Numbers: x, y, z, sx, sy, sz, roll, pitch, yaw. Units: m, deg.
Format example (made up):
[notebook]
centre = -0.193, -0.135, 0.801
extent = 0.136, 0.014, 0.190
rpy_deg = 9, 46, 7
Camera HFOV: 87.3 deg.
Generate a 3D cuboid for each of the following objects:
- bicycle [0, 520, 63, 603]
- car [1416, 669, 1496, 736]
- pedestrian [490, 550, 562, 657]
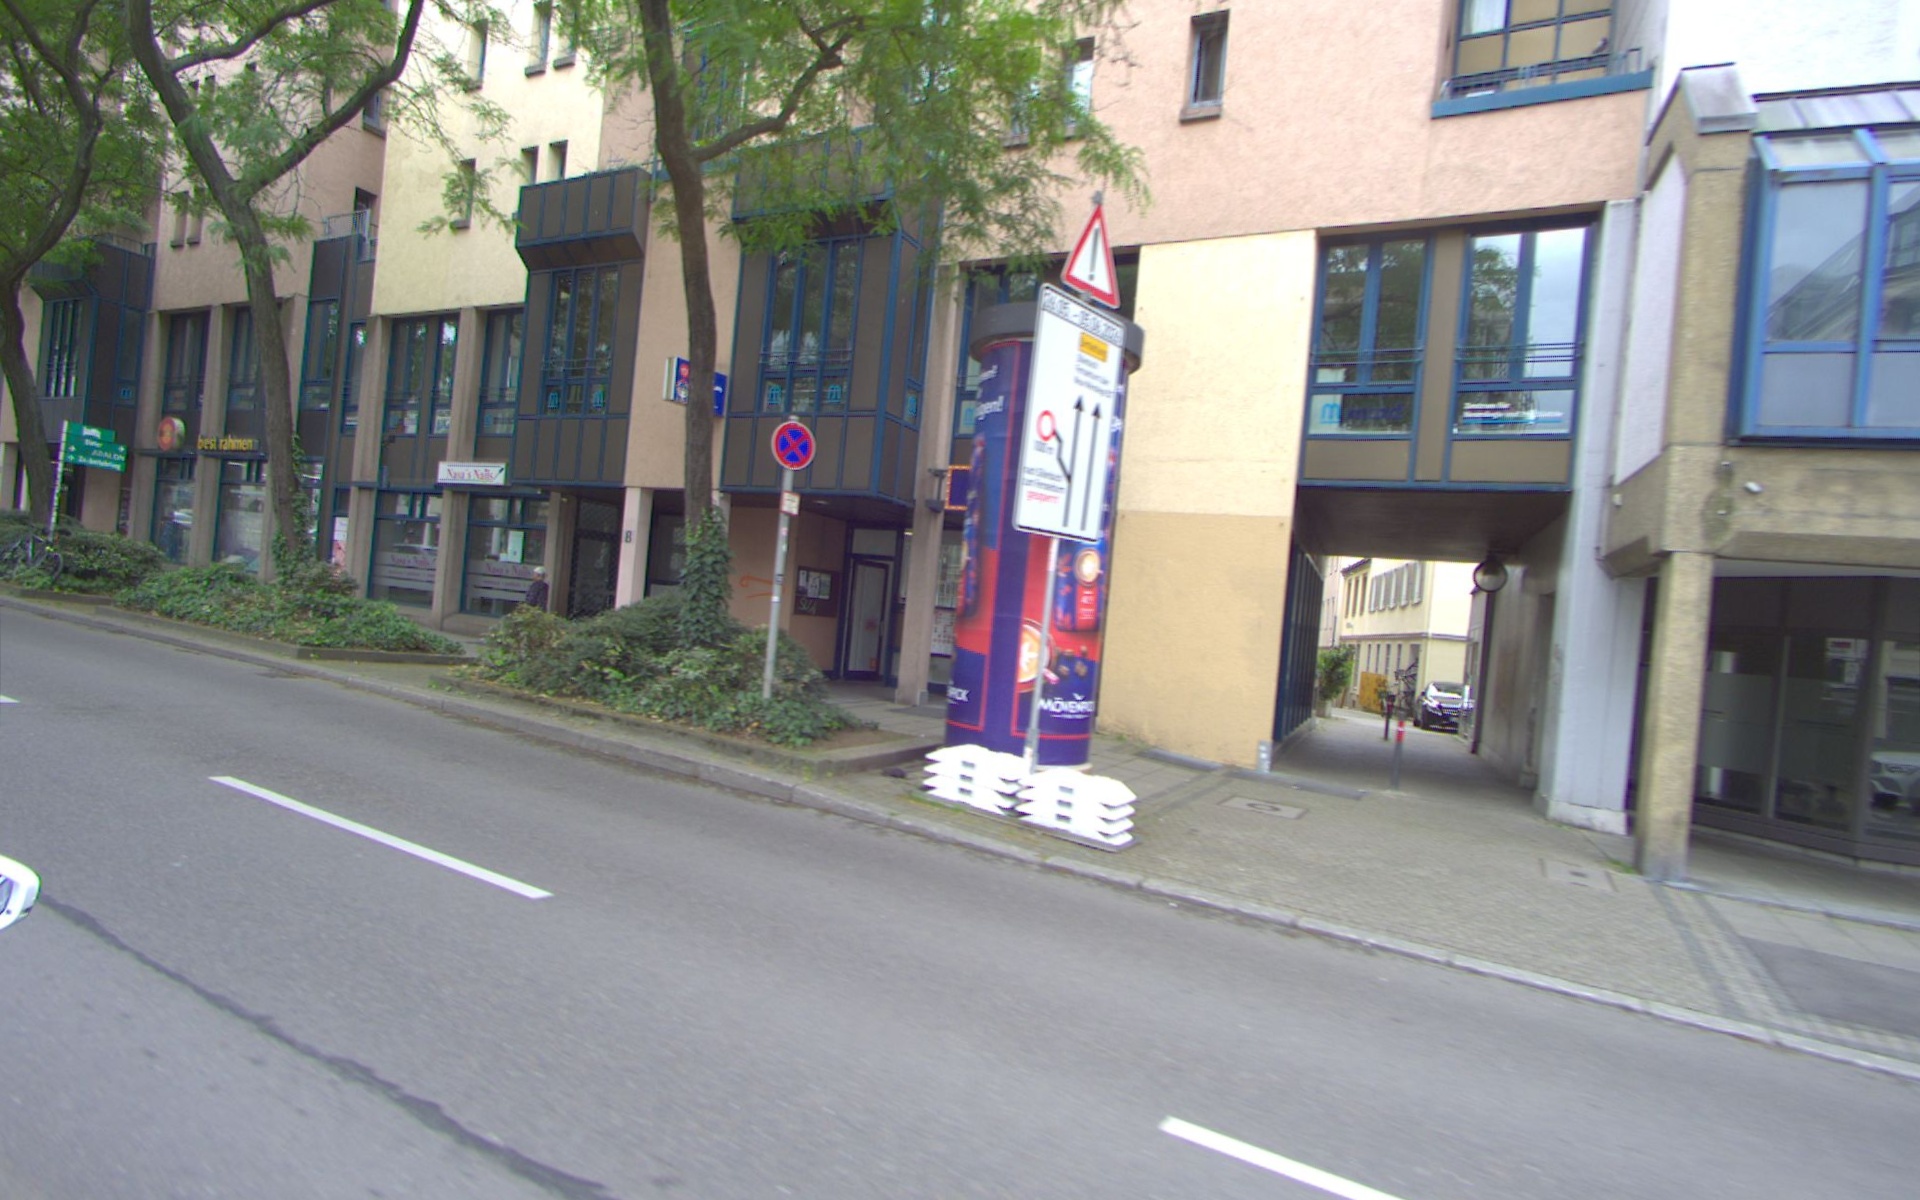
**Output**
[bicycle]
centre = -15.339, -0.653, 16.365
extent = 1.541, 1.216, 0.362
rpy_deg = 7, 1, 21
[car]
centre = 14.553, 3.032, 29.727
extent = 1.787, 1.578, 4.645
rpy_deg = 7, -3, 24
[pedestrian]
centre = -7.507, 0.066, 17.402
extent = 0.677, 1.732, 0.710
rpy_deg = 8, 1, 35
